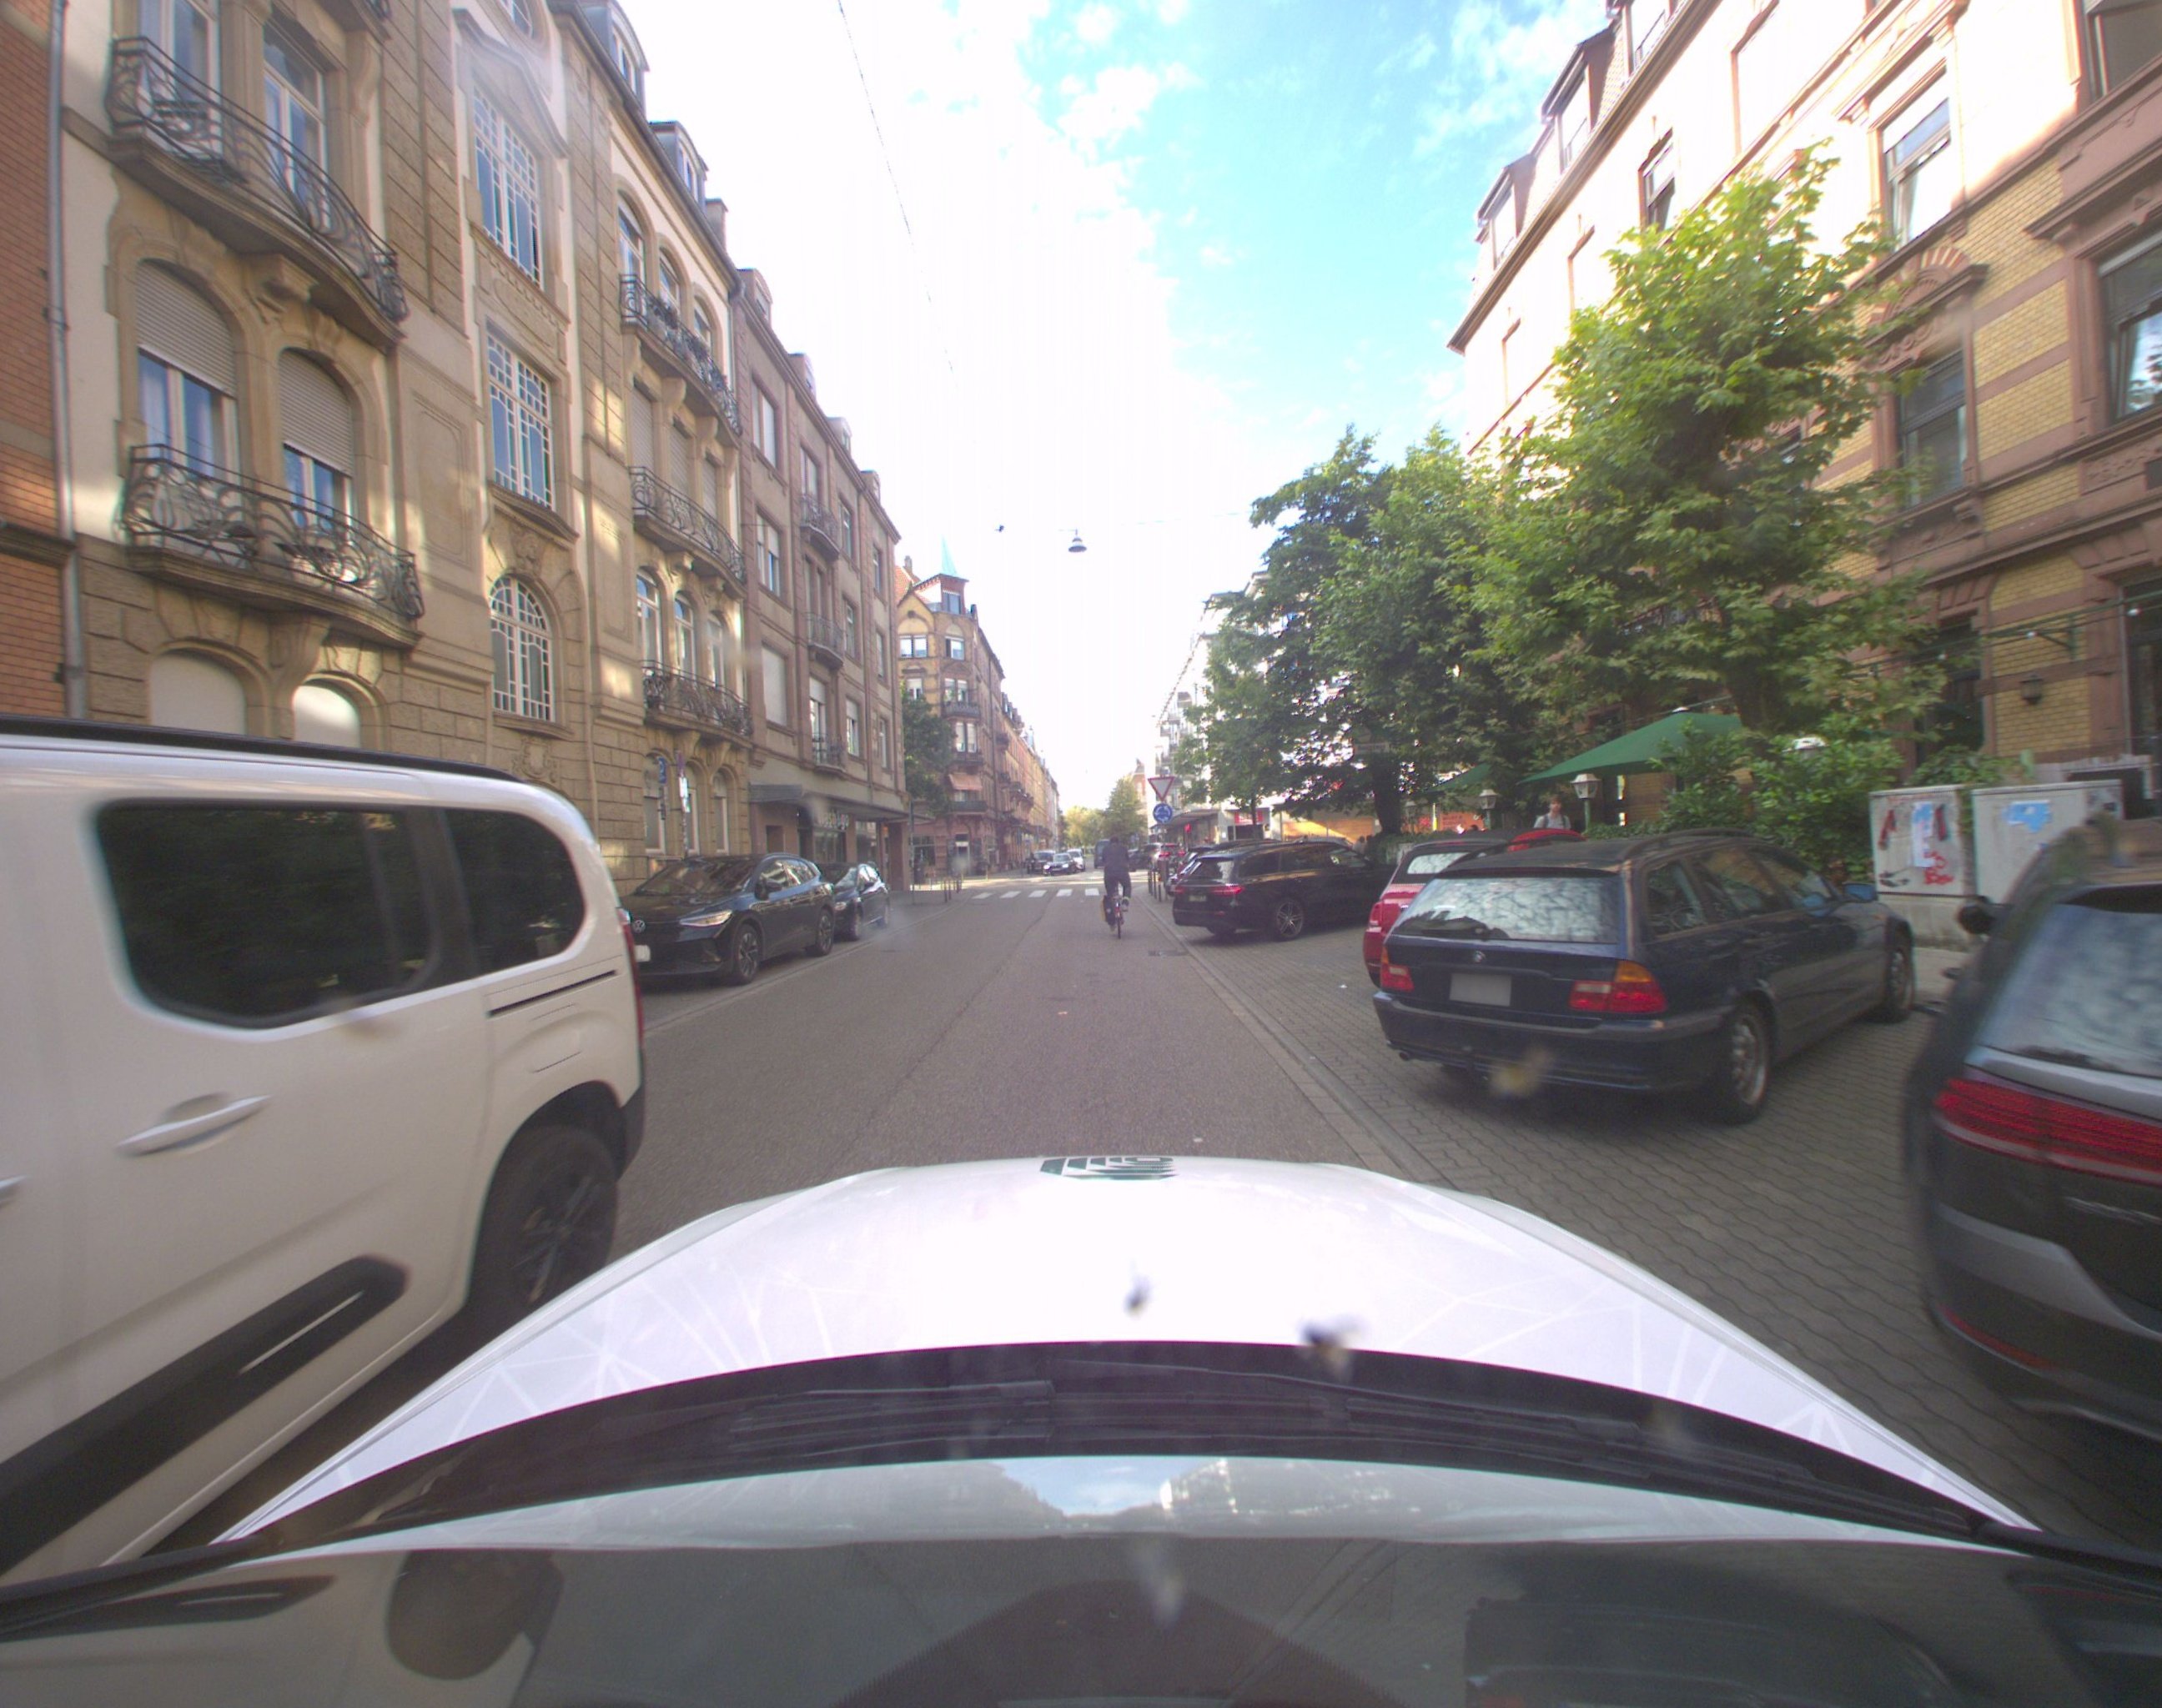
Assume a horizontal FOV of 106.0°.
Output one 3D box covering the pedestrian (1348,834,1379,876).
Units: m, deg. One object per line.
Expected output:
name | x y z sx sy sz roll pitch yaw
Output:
pedestrian | 9.389 0.034 27.095 0.755 1.342 0.596 -3 0 -4

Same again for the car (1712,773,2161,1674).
car | 3.822 0.522 2.572 4.492 1.476 1.867 -6 2 -39

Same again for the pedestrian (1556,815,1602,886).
pedestrian | 11.425 -0.086 18.685 0.627 1.570 0.570 -3 0 -3

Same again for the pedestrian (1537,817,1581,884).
pedestrian | 11.545 -0.084 19.679 0.627 1.570 0.570 -3 0 -3

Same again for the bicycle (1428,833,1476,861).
bicycle | 17.385 -0.325 38.175 1.952 1.199 0.716 -3 0 21

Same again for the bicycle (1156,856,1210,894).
bicycle | 3.047 0.646 24.515 0.551 1.040 1.840 -6 1 -28

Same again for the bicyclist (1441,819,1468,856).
bicyclist | 17.490 -0.787 38.135 1.004 1.668 0.948 -3 0 20

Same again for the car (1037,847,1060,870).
car | -3.065 0.398 77.011 1.988 2.013 3.998 -3 0 -1

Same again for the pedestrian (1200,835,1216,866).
pedestrian | 7.817 -0.186 50.049 0.864 1.851 0.613 -3 0 6

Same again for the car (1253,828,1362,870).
car | 11.223 -0.234 40.426 4.784 1.724 2.055 -4 2 27

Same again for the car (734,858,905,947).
car | -5.035 0.854 16.394 1.987 1.420 4.244 -3 0 0

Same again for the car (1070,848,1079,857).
car | -1.408 -0.341 184.934 1.987 2.013 4.000 -3 0 0

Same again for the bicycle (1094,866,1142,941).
bicycle | 0.644 0.840 14.798 0.664 1.178 2.495 -1 0 -2

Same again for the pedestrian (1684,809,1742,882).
pedestrian | 11.079 -0.146 14.296 0.465 1.219 0.562 -5 0 -8

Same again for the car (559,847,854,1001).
car | -4.862 0.785 11.518 1.784 1.628 4.848 -3 0 1

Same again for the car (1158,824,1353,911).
car | 4.267 0.283 19.874 4.363 1.644 1.806 -5 1 -26

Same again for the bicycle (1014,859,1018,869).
bicycle | -6.356 1.010 79.947 0.359 0.947 1.713 -2 0 -4

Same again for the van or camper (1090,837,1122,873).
van or camper | 2.158 0.075 72.265 2.524 3.037 4.456 -3 0 -1

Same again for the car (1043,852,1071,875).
car | -1.540 0.630 53.888 1.745 1.436 4.210 -2 -1 -1

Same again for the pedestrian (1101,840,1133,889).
pedestrian | 1.366 0.398 30.646 0.774 1.779 0.798 -3 0 39

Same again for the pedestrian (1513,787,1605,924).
pedestrian | 6.874 0.025 11.757 0.835 1.878 0.724 -3 0 5

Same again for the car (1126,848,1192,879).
car | 4.467 0.559 47.287 2.004 1.618 3.966 -3 0 -26

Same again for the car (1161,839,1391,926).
car | 4.128 0.542 17.208 4.421 1.457 1.927 -3 0 -24

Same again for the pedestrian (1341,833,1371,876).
pedestrian | 9.336 0.012 27.680 0.755 1.392 0.548 -3 0 -4

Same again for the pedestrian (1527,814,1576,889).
pedestrian | 10.769 -0.056 18.664 0.644 1.642 0.563 -5 0 -4

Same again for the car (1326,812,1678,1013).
car | 4.414 0.438 8.352 3.738 1.485 1.721 -5 1 -38

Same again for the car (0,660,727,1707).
car | -2.582 0.643 1.350 1.911 1.828 4.439 -2 0 1

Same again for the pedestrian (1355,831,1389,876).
pedestrian | 9.429 -0.016 26.414 0.795 1.406 0.702 -3 0 -3

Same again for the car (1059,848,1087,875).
car | -0.583 0.521 62.655 1.936 1.721 4.850 -4 2 0

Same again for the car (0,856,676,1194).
car | -5.145 0.836 6.046 1.987 1.545 4.426 -3 0 0

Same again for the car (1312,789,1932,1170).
car | 3.826 0.455 5.474 4.488 1.464 1.859 -5 2 -34

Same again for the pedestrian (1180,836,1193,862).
pedestrian | 6.987 -0.340 54.029 0.740 1.629 0.815 -3 0 12

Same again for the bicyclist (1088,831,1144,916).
bicyclist | 0.633 0.340 14.856 0.931 1.484 0.747 -1 0 -2

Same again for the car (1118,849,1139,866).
car | 4.746 0.347 81.783 1.986 1.486 4.002 -3 0 2

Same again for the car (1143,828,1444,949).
car | 3.668 0.475 13.898 4.780 1.456 2.038 -5 2 -28

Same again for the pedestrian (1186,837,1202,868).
pedestrian | 6.939 -0.092 50.134 0.864 1.851 0.613 -3 0 6

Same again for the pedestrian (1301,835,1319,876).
pedestrian | 9.878 0.067 35.132 0.624 1.739 0.778 -3 0 13
